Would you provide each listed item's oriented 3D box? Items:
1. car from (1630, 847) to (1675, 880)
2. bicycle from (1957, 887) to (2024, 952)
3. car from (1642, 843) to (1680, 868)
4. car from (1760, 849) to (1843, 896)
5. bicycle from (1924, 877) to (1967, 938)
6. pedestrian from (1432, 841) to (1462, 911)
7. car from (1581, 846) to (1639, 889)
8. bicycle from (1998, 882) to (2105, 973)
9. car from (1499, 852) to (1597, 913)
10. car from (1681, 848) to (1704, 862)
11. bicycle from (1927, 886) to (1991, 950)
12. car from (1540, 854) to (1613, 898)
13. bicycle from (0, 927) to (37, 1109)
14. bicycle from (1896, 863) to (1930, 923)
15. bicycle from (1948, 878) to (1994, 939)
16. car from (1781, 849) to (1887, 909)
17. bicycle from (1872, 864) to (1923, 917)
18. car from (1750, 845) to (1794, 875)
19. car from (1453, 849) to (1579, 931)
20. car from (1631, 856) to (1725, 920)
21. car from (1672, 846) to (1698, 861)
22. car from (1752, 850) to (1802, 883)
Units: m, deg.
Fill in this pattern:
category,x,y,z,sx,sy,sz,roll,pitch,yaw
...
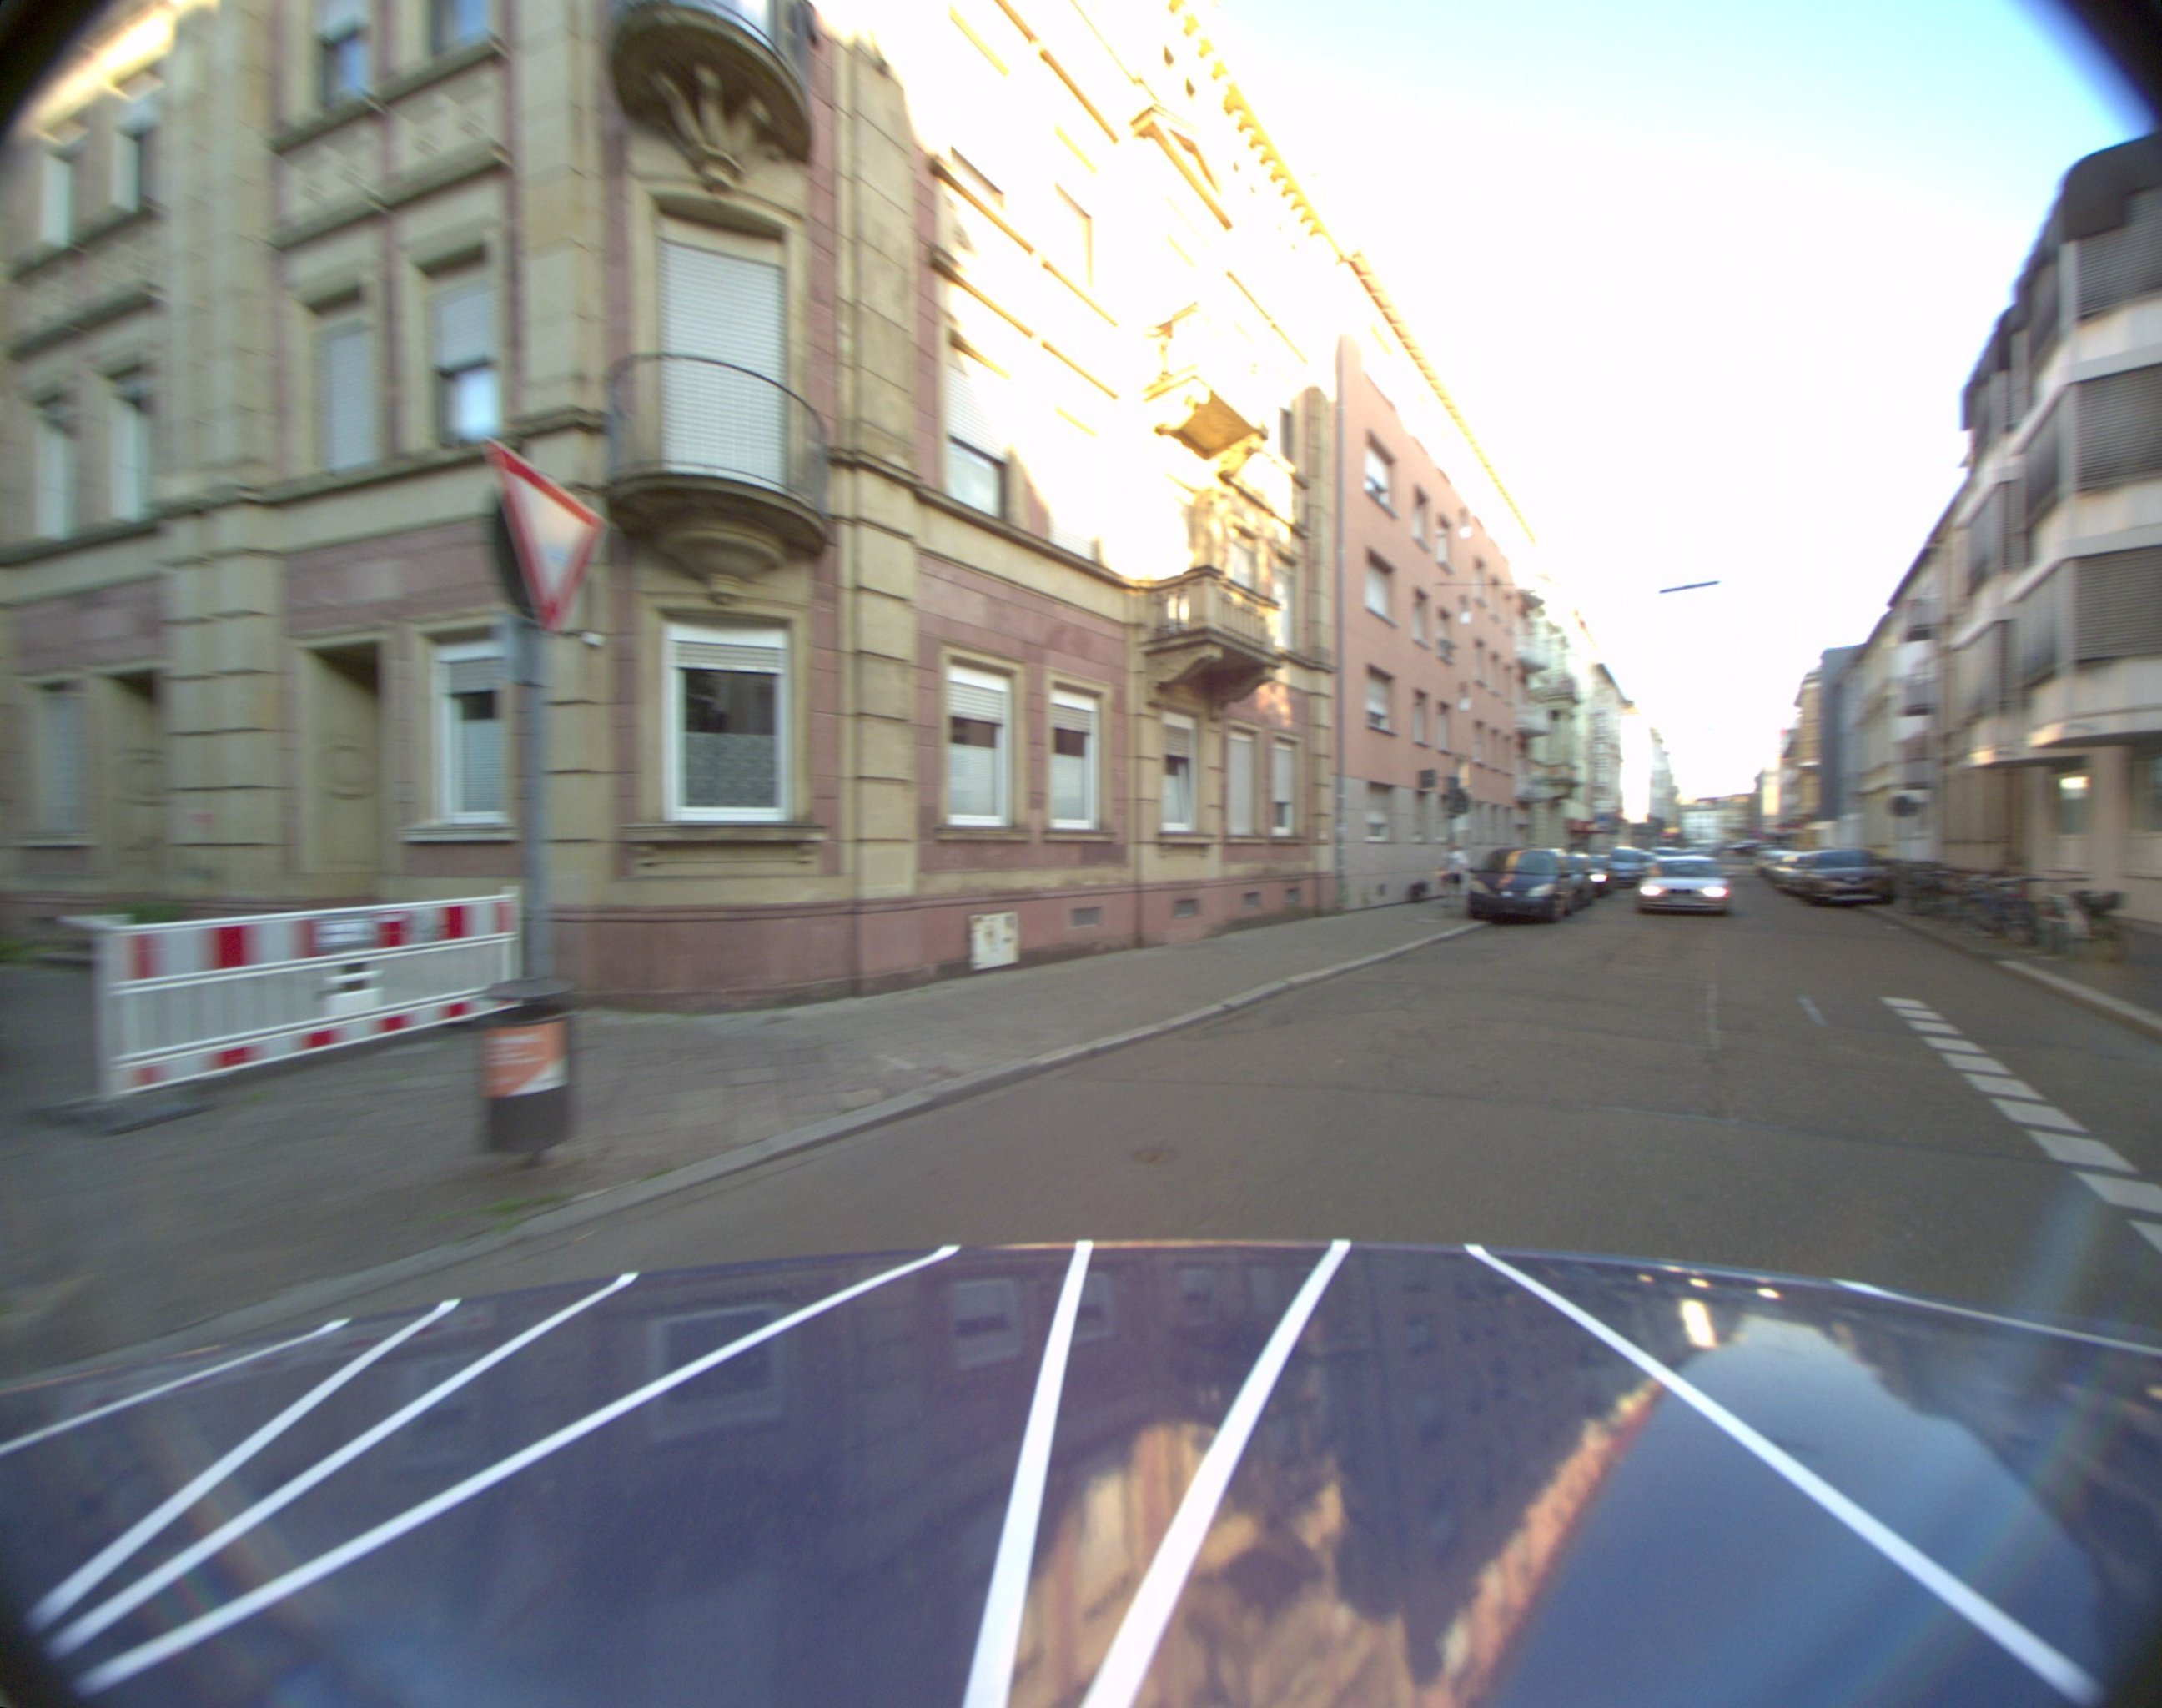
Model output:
category,x,y,z,sx,sy,sz,roll,pitch,yaw
car,28.413,0.455,37.725,1.570,1.569,3.597,0,0,40
bicycle,14.989,1.049,12.547,0.307,0.926,1.817,0,0,37
car,43.913,0.062,57.516,1.837,1.686,4.368,6,5,41
car,25.603,0.605,27.132,1.791,1.530,4.443,0,0,39
bicycle,16.385,0.979,14.424,0.307,1.036,1.817,0,0,41
pedestrian,9.285,0.536,19.254,0.549,1.733,0.569,1,1,39
car,22.813,0.519,32.708,1.690,1.731,4.118,0,0,40
bicycle,13.536,0.979,10.642,0.400,1.096,1.817,0,0,34
car,13.121,0.714,21.231,1.690,1.505,4.292,0,0,40
car,64.728,0.121,80.363,1.726,1.391,3.900,0,0,42
bicycle,14.714,1.046,12.767,0.307,0.926,1.817,0,0,36
car,17.896,0.744,27.363,1.690,1.449,4.140,0,0,40
bicycle,-7.493,1.003,4.864,1.866,1.083,0.365,1,3,19
bicycle,18.156,0.824,16.590,0.307,1.215,1.817,0,0,41
bicycle,16.659,0.989,14.241,0.307,1.036,1.817,0,0,41
car,21.932,0.664,22.291,1.791,1.567,4.079,0,0,39
bicycle,19.508,0.836,18.187,0.596,1.180,2.270,0,0,41
car,40.866,0.305,44.996,1.639,1.701,3.791,0,0,38
car,9.891,0.719,17.133,1.690,1.615,4.063,0,0,42
car,15.270,0.785,19.340,1.678,1.395,4.481,-2,-1,41
car,58.699,-0.039,73.813,1.726,1.391,3.900,0,0,42
car,33.646,0.574,36.804,1.639,1.480,3.796,0,0,40
